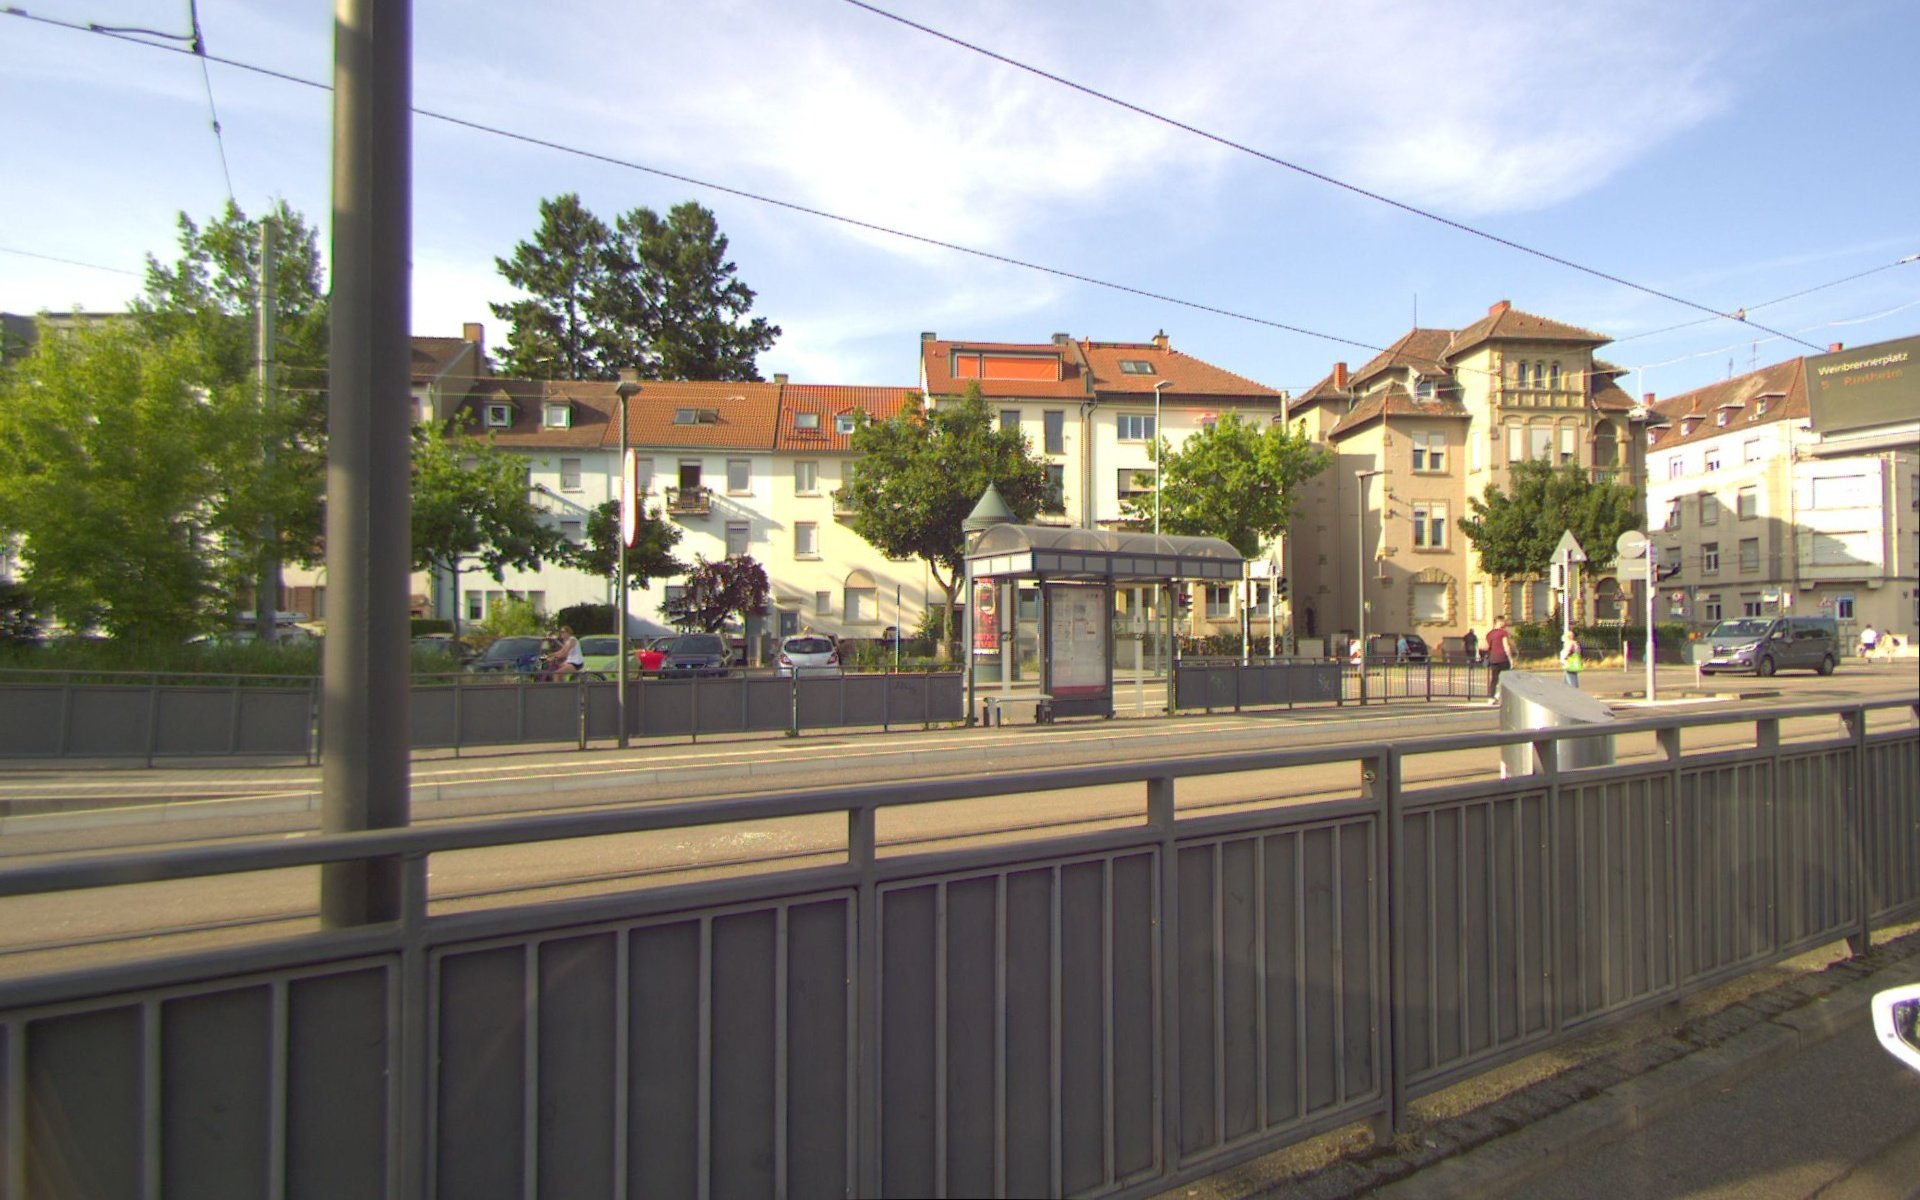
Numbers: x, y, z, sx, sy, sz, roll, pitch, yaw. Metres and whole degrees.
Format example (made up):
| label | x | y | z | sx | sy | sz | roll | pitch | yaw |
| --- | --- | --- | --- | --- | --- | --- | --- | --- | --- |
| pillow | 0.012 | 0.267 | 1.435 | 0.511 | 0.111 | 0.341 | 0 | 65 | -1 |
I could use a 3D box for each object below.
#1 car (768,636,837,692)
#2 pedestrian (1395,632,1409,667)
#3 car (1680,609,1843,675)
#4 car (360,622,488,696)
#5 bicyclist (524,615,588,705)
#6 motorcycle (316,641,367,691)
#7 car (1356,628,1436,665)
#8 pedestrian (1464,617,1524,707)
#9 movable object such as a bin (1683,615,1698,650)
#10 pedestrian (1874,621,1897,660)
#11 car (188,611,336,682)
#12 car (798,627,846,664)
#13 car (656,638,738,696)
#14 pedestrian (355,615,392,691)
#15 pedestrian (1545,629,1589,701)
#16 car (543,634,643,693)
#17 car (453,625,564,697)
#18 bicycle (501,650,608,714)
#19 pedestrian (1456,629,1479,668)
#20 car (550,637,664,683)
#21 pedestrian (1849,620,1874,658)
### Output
| label | x | y | z | sx | sy | sz | roll | pitch | yaw |
| --- | --- | --- | --- | --- | --- | --- | --- | --- | --- |
| car | -4.371 | 1.728 | 27.970 | 1.740 | 1.447 | 3.995 | 0 | -2 | -9 |
| pedestrian | 19.223 | 2.155 | 43.699 | 0.382 | 1.535 | 0.405 | 0 | -2 | -3 |
| car | 26.510 | 1.359 | 33.216 | 5.315 | 2.040 | 2.139 | 1 | -2 | -26 |
| car | -13.885 | 1.502 | 26.288 | 1.822 | 1.777 | 3.993 | 0 | -2 | -11 |
| bicyclist | -7.787 | 1.132 | 19.347 | 1.059 | 1.646 | 0.701 | 0 | 1 | -30 |
| motorcycle | -13.661 | 1.442 | 22.186 | 0.912 | 1.065 | 0.496 | 1 | -2 | -37 |
| car | 20.378 | 2.149 | 47.107 | 1.742 | 1.653 | 3.998 | 0 | -2 | -5 |
| pedestrian | 10.283 | 1.185 | 19.358 | 0.874 | 1.692 | 0.666 | 1 | -2 | -33 |
| movable object such as a bin | 37.026 | 1.649 | 50.925 | 0.259 | 1.732 | 2.379 | -1 | -2 | 29 |
| pedestrian | 45.964 | 2.007 | 49.895 | 0.642 | 1.872 | 0.670 | 1 | -2 | -32 |
| car | -18.962 | 1.253 | 27.526 | 1.822 | 1.777 | 3.993 | 0 | -2 | -11 |
| car | -6.039 | 1.985 | 44.359 | 1.821 | 1.578 | 3.998 | 0 | -2 | -4 |
| car | -7.067 | 1.762 | 27.341 | 1.740 | 1.447 | 3.995 | 0 | -2 | -9 |
| pedestrian | -13.165 | 1.185 | 22.550 | 0.665 | 1.677 | 0.367 | 1 | -2 | -39 |
| pedestrian | 13.849 | 1.468 | 22.914 | 0.708 | 1.610 | 0.586 | 1 | -2 | -34 |
| car | -9.729 | 1.643 | 26.934 | 1.740 | 1.447 | 3.995 | 0 | -2 | -9 |
| car | -11.972 | 1.584 | 26.906 | 1.822 | 1.777 | 3.993 | 0 | -2 | -11 |
| bicycle | -7.799 | 1.558 | 19.346 | 1.842 | 1.125 | 0.722 | 1 | 1 | -30 |
| pedestrian | 21.636 | 2.062 | 42.857 | 0.592 | 1.673 | 0.681 | 0 | -1 | -3 |
| car | -12.182 | 2.063 | 34.861 | 3.444 | 1.544 | 1.567 | 0 | -2 | -7 |
| pedestrian | 45.651 | 1.970 | 50.874 | 0.616 | 1.905 | 0.659 | 0 | -2 | -15 |
